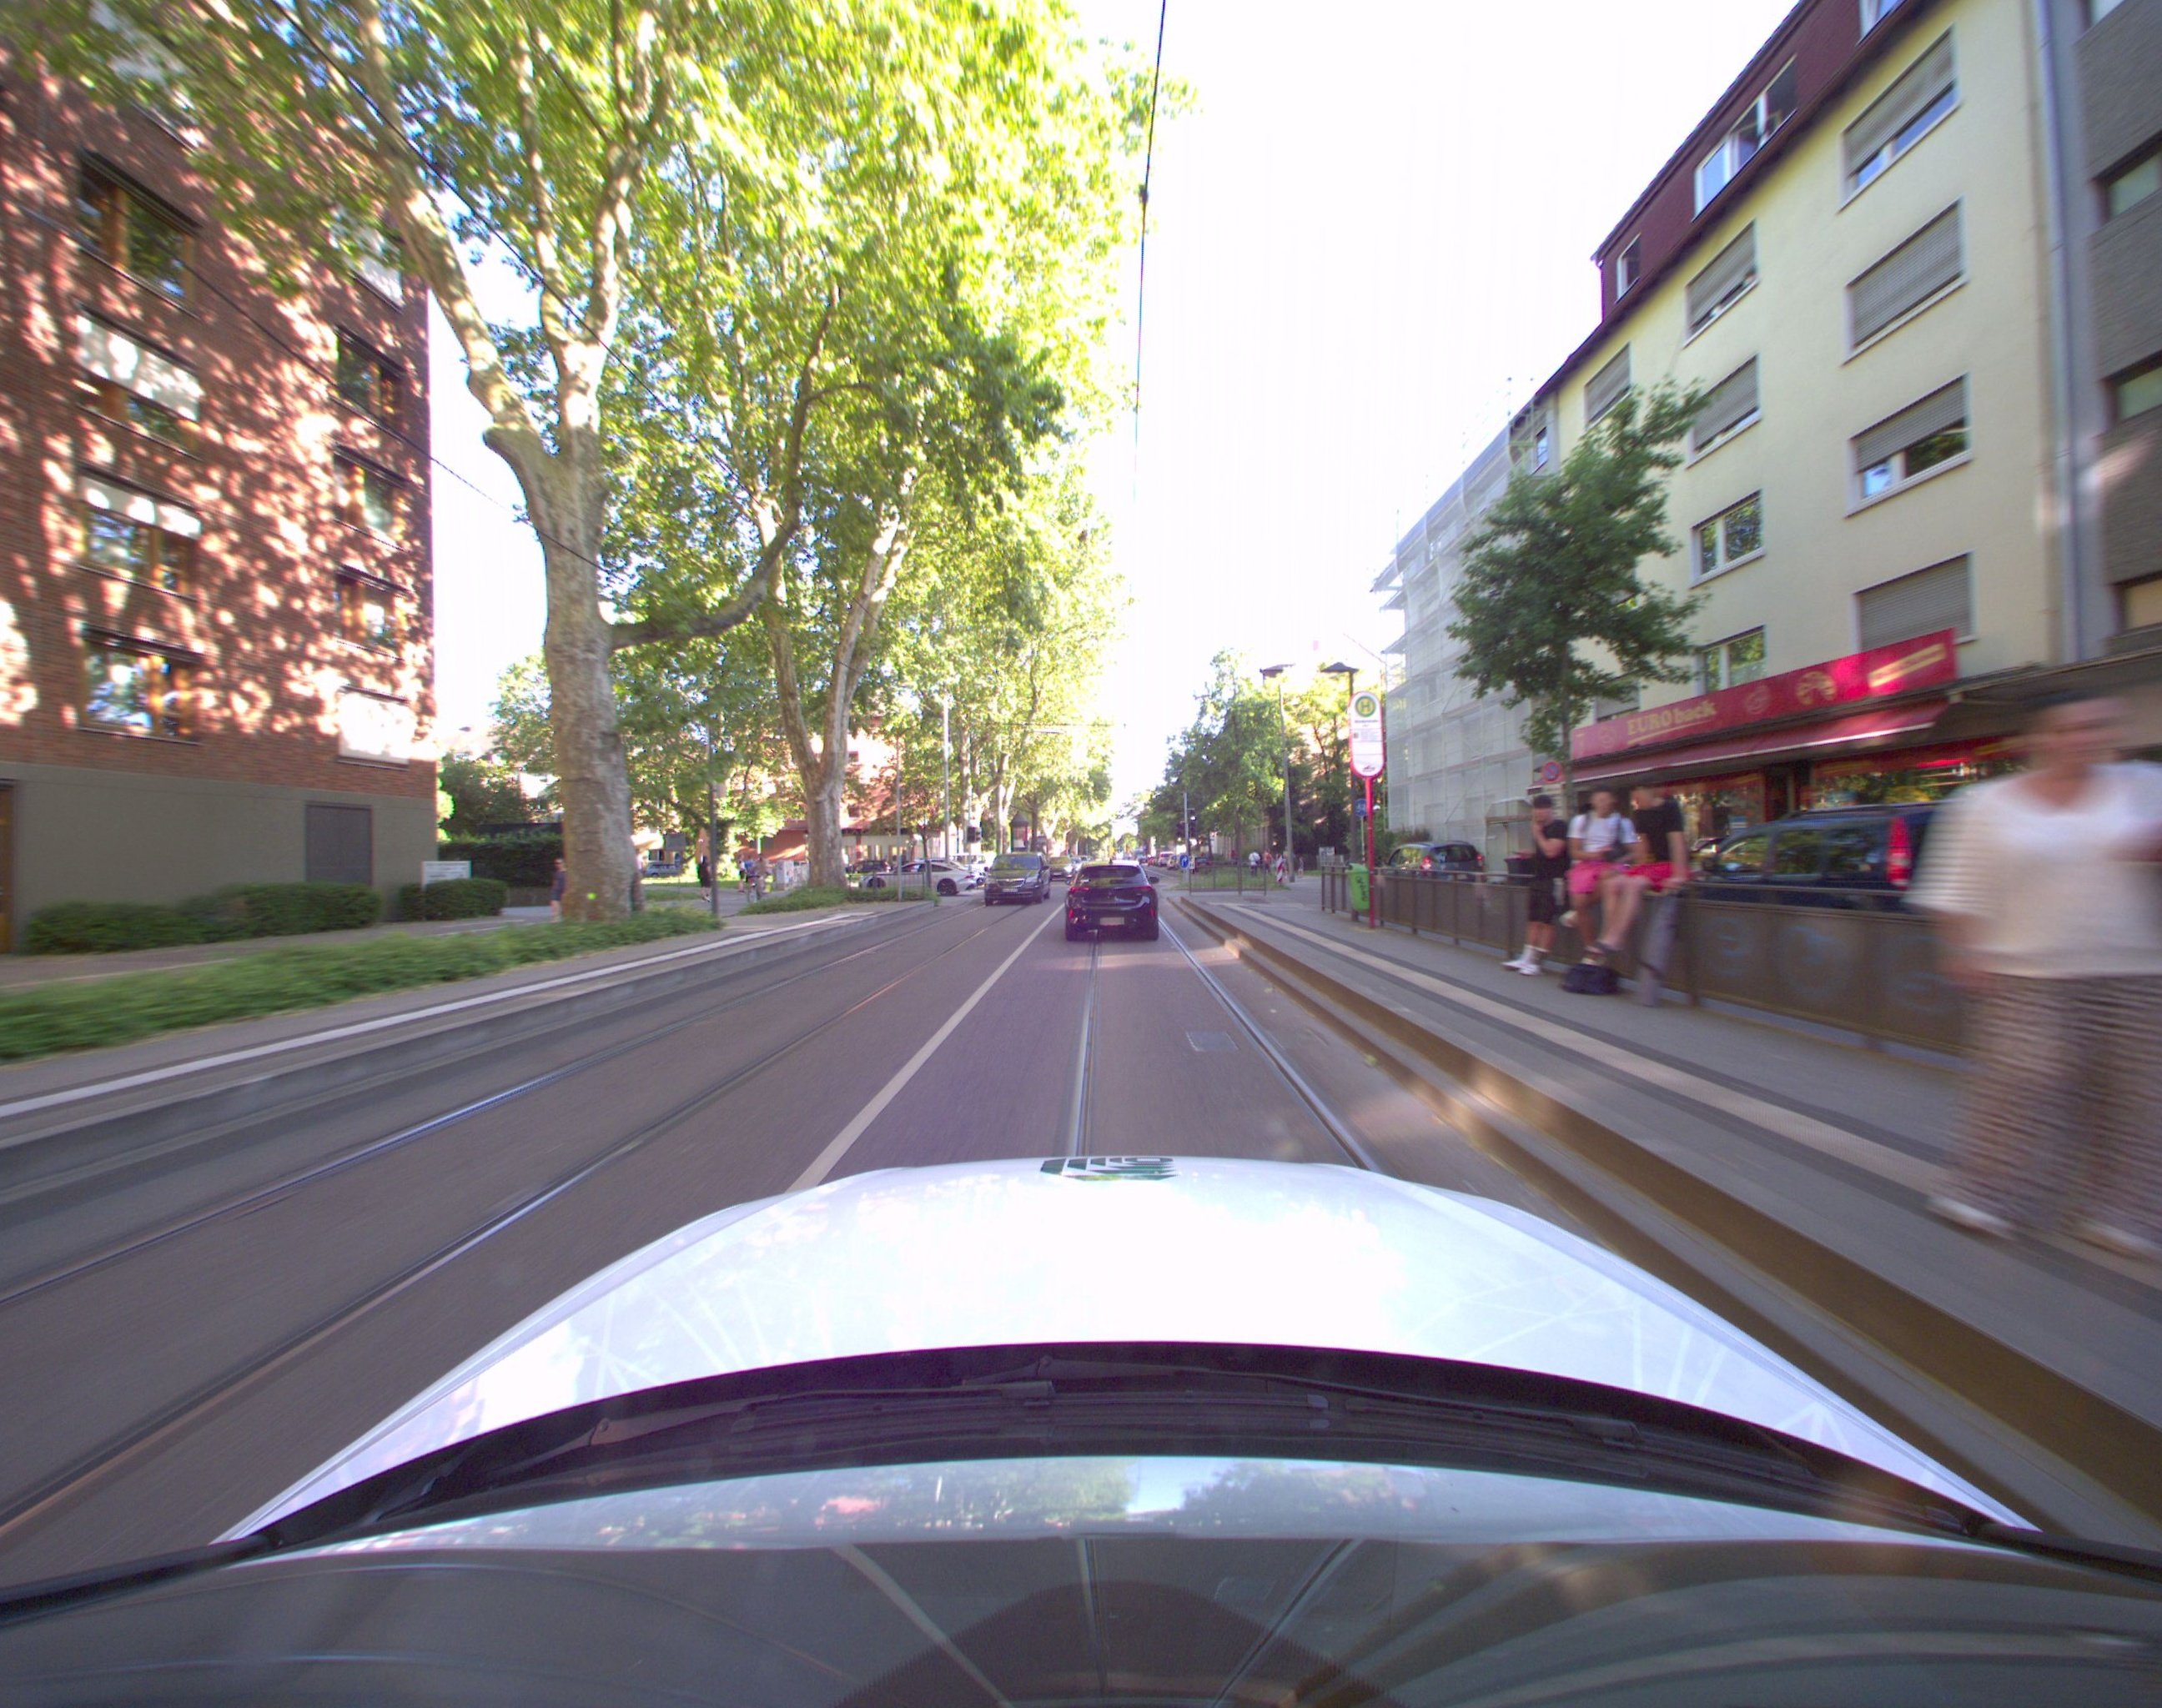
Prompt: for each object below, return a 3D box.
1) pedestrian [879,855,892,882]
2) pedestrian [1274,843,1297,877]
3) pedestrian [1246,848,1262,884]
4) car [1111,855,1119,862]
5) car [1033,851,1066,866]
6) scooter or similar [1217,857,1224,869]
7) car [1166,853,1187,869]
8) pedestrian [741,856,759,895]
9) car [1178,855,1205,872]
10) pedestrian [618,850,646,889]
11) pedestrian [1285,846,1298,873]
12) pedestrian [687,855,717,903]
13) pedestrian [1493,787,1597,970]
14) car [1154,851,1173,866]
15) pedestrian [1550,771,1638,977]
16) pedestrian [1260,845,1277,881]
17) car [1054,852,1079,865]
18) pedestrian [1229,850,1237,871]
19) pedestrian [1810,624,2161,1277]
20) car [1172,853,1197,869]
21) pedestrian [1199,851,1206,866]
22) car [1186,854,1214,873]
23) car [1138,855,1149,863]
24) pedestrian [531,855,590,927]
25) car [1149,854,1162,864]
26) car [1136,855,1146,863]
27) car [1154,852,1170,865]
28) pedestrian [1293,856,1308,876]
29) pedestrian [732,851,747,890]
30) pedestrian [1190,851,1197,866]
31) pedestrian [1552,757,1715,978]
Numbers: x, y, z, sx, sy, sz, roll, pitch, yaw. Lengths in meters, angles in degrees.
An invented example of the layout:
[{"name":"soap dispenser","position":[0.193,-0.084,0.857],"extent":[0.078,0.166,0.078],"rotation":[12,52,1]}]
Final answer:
[{"name":"pedestrian","position":[-13.175,0.985,54.875],"extent":[0.640,1.809,0.753],"rotation":[0,-1,7]},{"name":"pedestrian","position":[11.331,0.316,45.210],"extent":[0.869,1.885,0.992],"rotation":[0,-1,-16]},{"name":"pedestrian","position":[8.962,0.609,42.135],"extent":[0.721,1.793,0.856],"rotation":[-3,0,12]},{"name":"car","position":[9.405,1.125,226.619],"extent":[2.246,1.840,5.533],"rotation":[-2,0,2]},{"name":"car","position":[-4.803,0.692,125.403],"extent":[5.019,2.259,2.084],"rotation":[0,0,-2]},{"name":"scooter or similar","position":[13.799,0.892,80.671],"extent":[0.573,1.246,1.336],"rotation":[0,-1,3]},{"name":"car","position":[10.355,0.725,88.570],"extent":[1.877,1.568,4.243],"rotation":[-4,-1,2]},{"name":"pedestrian","position":[-14.243,0.921,35.085],"extent":[0.698,1.659,0.558],"rotation":[0,-1,-25]},{"name":"car","position":[10.065,0.874,74.412],"extent":[1.877,1.368,4.108],"rotation":[-4,-1,2]},{"name":"pedestrian","position":[-20.750,0.713,37.639],"extent":[0.835,1.737,0.921],"rotation":[-1,-1,40]},{"name":"pedestrian","position":[13.832,0.368,53.499],"extent":[0.618,1.726,0.552],"rotation":[0,-1,-12]},{"name":"pedestrian","position":[-13.637,0.894,29.343],"extent":[0.707,1.673,0.779],"rotation":[0,-1,1]},{"name":"pedestrian","position":[4.604,0.235,8.107],"extent":[0.686,1.755,0.579],"rotation":[0,-1,-5]},{"name":"car","position":[10.544,0.564,104.401],"extent":[1.877,1.851,4.969],"rotation":[-4,-1,2]},{"name":"pedestrian","position":[4.654,0.176,7.420],"extent":[0.489,1.770,0.706],"rotation":[-1,-1,16]},{"name":"pedestrian","position":[9.713,0.451,42.184],"extent":[0.721,1.793,0.971],"rotation":[-3,0,12]},{"name":"car","position":[-3.005,0.979,171.099],"extent":[5.017,2.374,2.082],"rotation":[-5,-1,1]},{"name":"pedestrian","position":[13.284,0.558,71.196],"extent":[0.594,1.793,0.731],"rotation":[0,-1,12]},{"name":"pedestrian","position":[2.949,0.254,2.556],"extent":[0.642,1.713,0.828],"rotation":[0,-1,-33]},{"name":"car","position":[10.611,0.741,83.851],"extent":[1.878,1.467,4.593],"rotation":[-4,-1,0]},{"name":"pedestrian","position":[13.678,0.520,91.509],"extent":[0.723,1.709,0.856],"rotation":[0,-1,1]},{"name":"car","position":[9.875,0.766,67.877],"extent":[1.667,1.412,3.842],"rotation":[-4,-1,0]},{"name":"car","position":[11.764,0.940,154.116],"extent":[1.877,1.434,4.531],"rotation":[-4,-1,2]},{"name":"pedestrian","position":[-12.343,0.863,19.342],"extent":[0.735,1.672,0.969],"rotation":[0,-1,3]},{"name":"car","position":[11.623,0.841,127.932],"extent":[1.696,1.423,3.980],"rotation":[-5,-1,2]},{"name":"car","position":[12.043,1.021,164.211],"extent":[1.797,1.434,4.001],"rotation":[-2,-2,2]},{"name":"car","position":[11.259,0.665,113.358],"extent":[1.879,1.766,4.679],"rotation":[-2,0,2]},{"name":"pedestrian","position":[12.181,0.673,45.264],"extent":[0.672,1.118,0.659],"rotation":[0,-1,0]},{"name":"pedestrian","position":[-15.008,0.707,35.795],"extent":[0.535,1.705,0.587],"rotation":[0,-1,-30]},{"name":"pedestrian","position":[12.647,0.551,91.561],"extent":[0.722,1.693,0.958],"rotation":[0,-1,6]},{"name":"pedestrian","position":[4.482,0.105,6.653],"extent":[0.843,1.701,0.692],"rotation":[0,-1,-5]}]
